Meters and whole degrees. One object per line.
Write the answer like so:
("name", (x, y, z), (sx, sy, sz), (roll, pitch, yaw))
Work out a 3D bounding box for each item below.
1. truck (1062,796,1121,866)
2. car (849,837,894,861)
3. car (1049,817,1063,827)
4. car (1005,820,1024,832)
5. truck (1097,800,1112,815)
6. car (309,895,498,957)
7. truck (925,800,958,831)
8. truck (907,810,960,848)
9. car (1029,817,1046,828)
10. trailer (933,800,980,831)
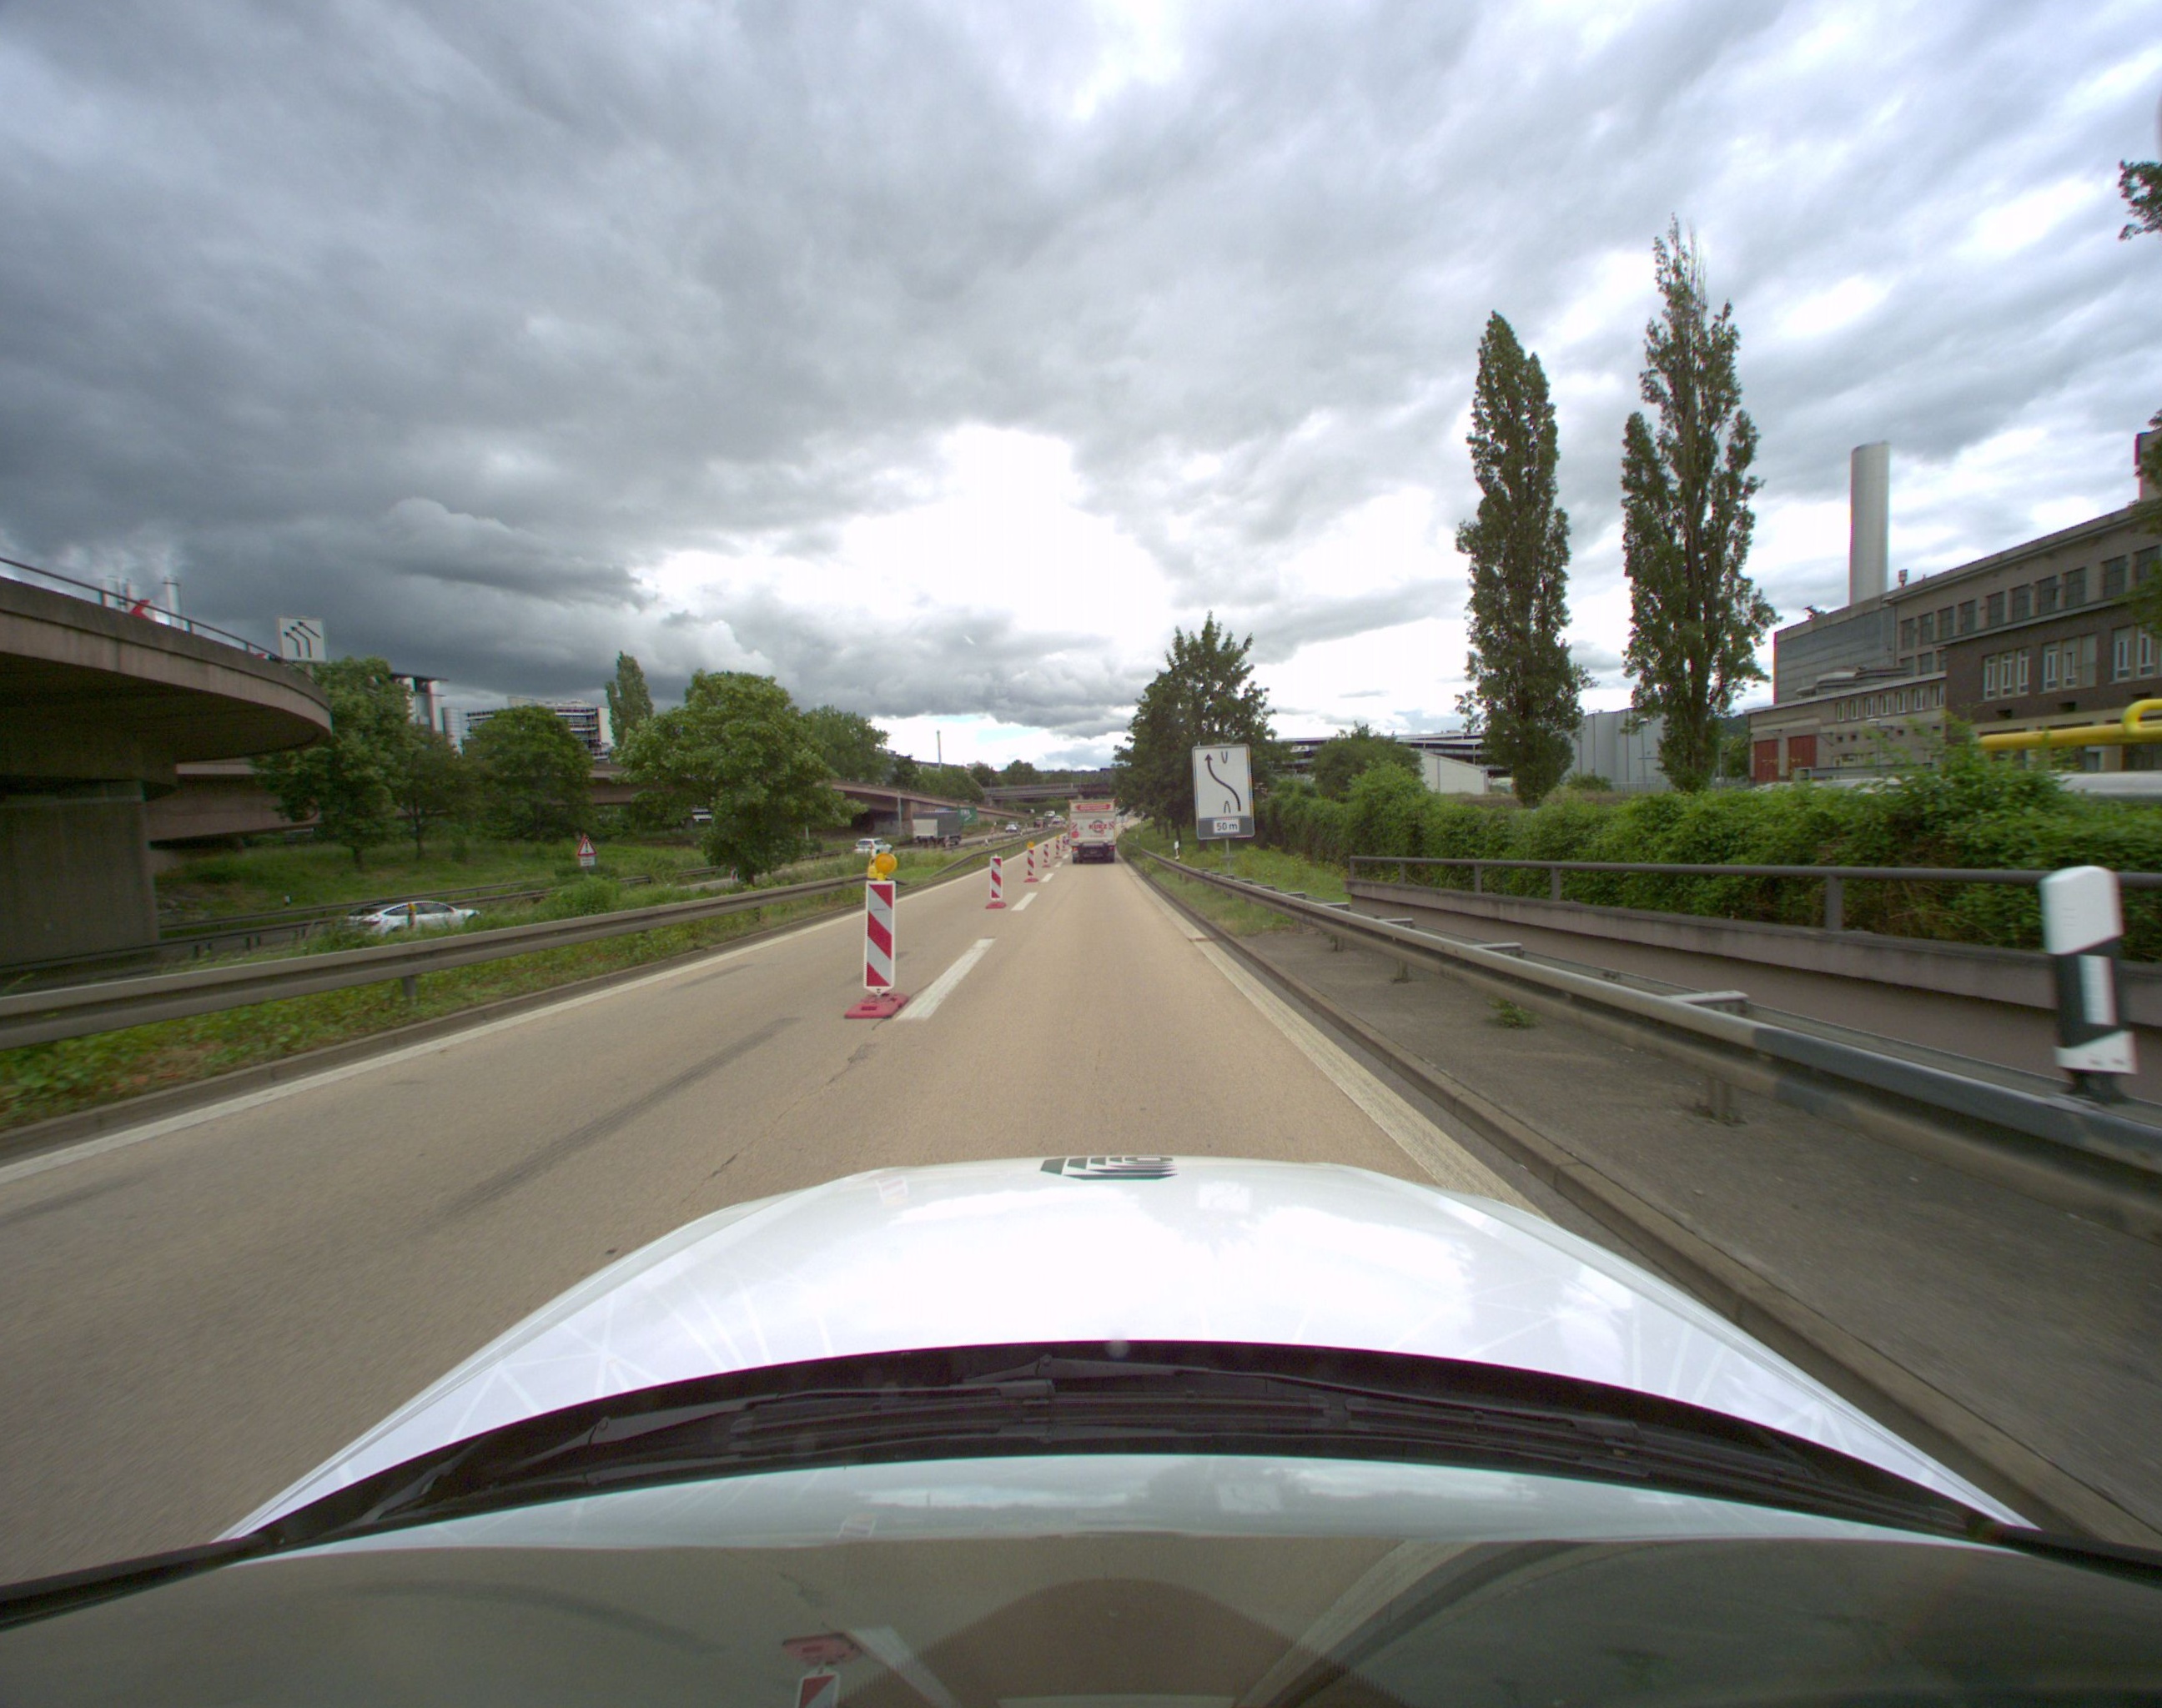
("truck", (0.644, -1.338, 47.837), (3.040, 3.672, 7.930), (-2, 2, 1))
("car", (-17.258, -0.465, 67.369), (1.981, 1.712, 4.114), (-1, 3, 10))
("car", (-4.499, -5.898, 149.262), (1.984, 1.617, 4.008), (-2, 3, 6))
("car", (-9.524, -3.997, 116.920), (1.984, 1.617, 4.008), (-2, 3, 6))
("truck", (6.302, -12.229, 214.893), (3.270, 3.851, 7.679), (-2, 3, 6))
("car", (-23.388, 2.435, 28.423), (1.981, 1.455, 4.816), (-1, 3, 10))
("truck", (-19.870, -5.543, 116.001), (2.736, 4.270, 5.519), (-1, 3, 10))
("truck", (-14.832, -2.618, 82.505), (3.035, 3.655, 7.411), (-2, 3, 6))
("car", (-7.129, -5.217, 133.713), (1.984, 1.617, 4.008), (-2, 3, 6))
("trailer", (-18.657, -5.923, 123.356), (2.755, 4.293, 14.019), (-1, 3, 9))
